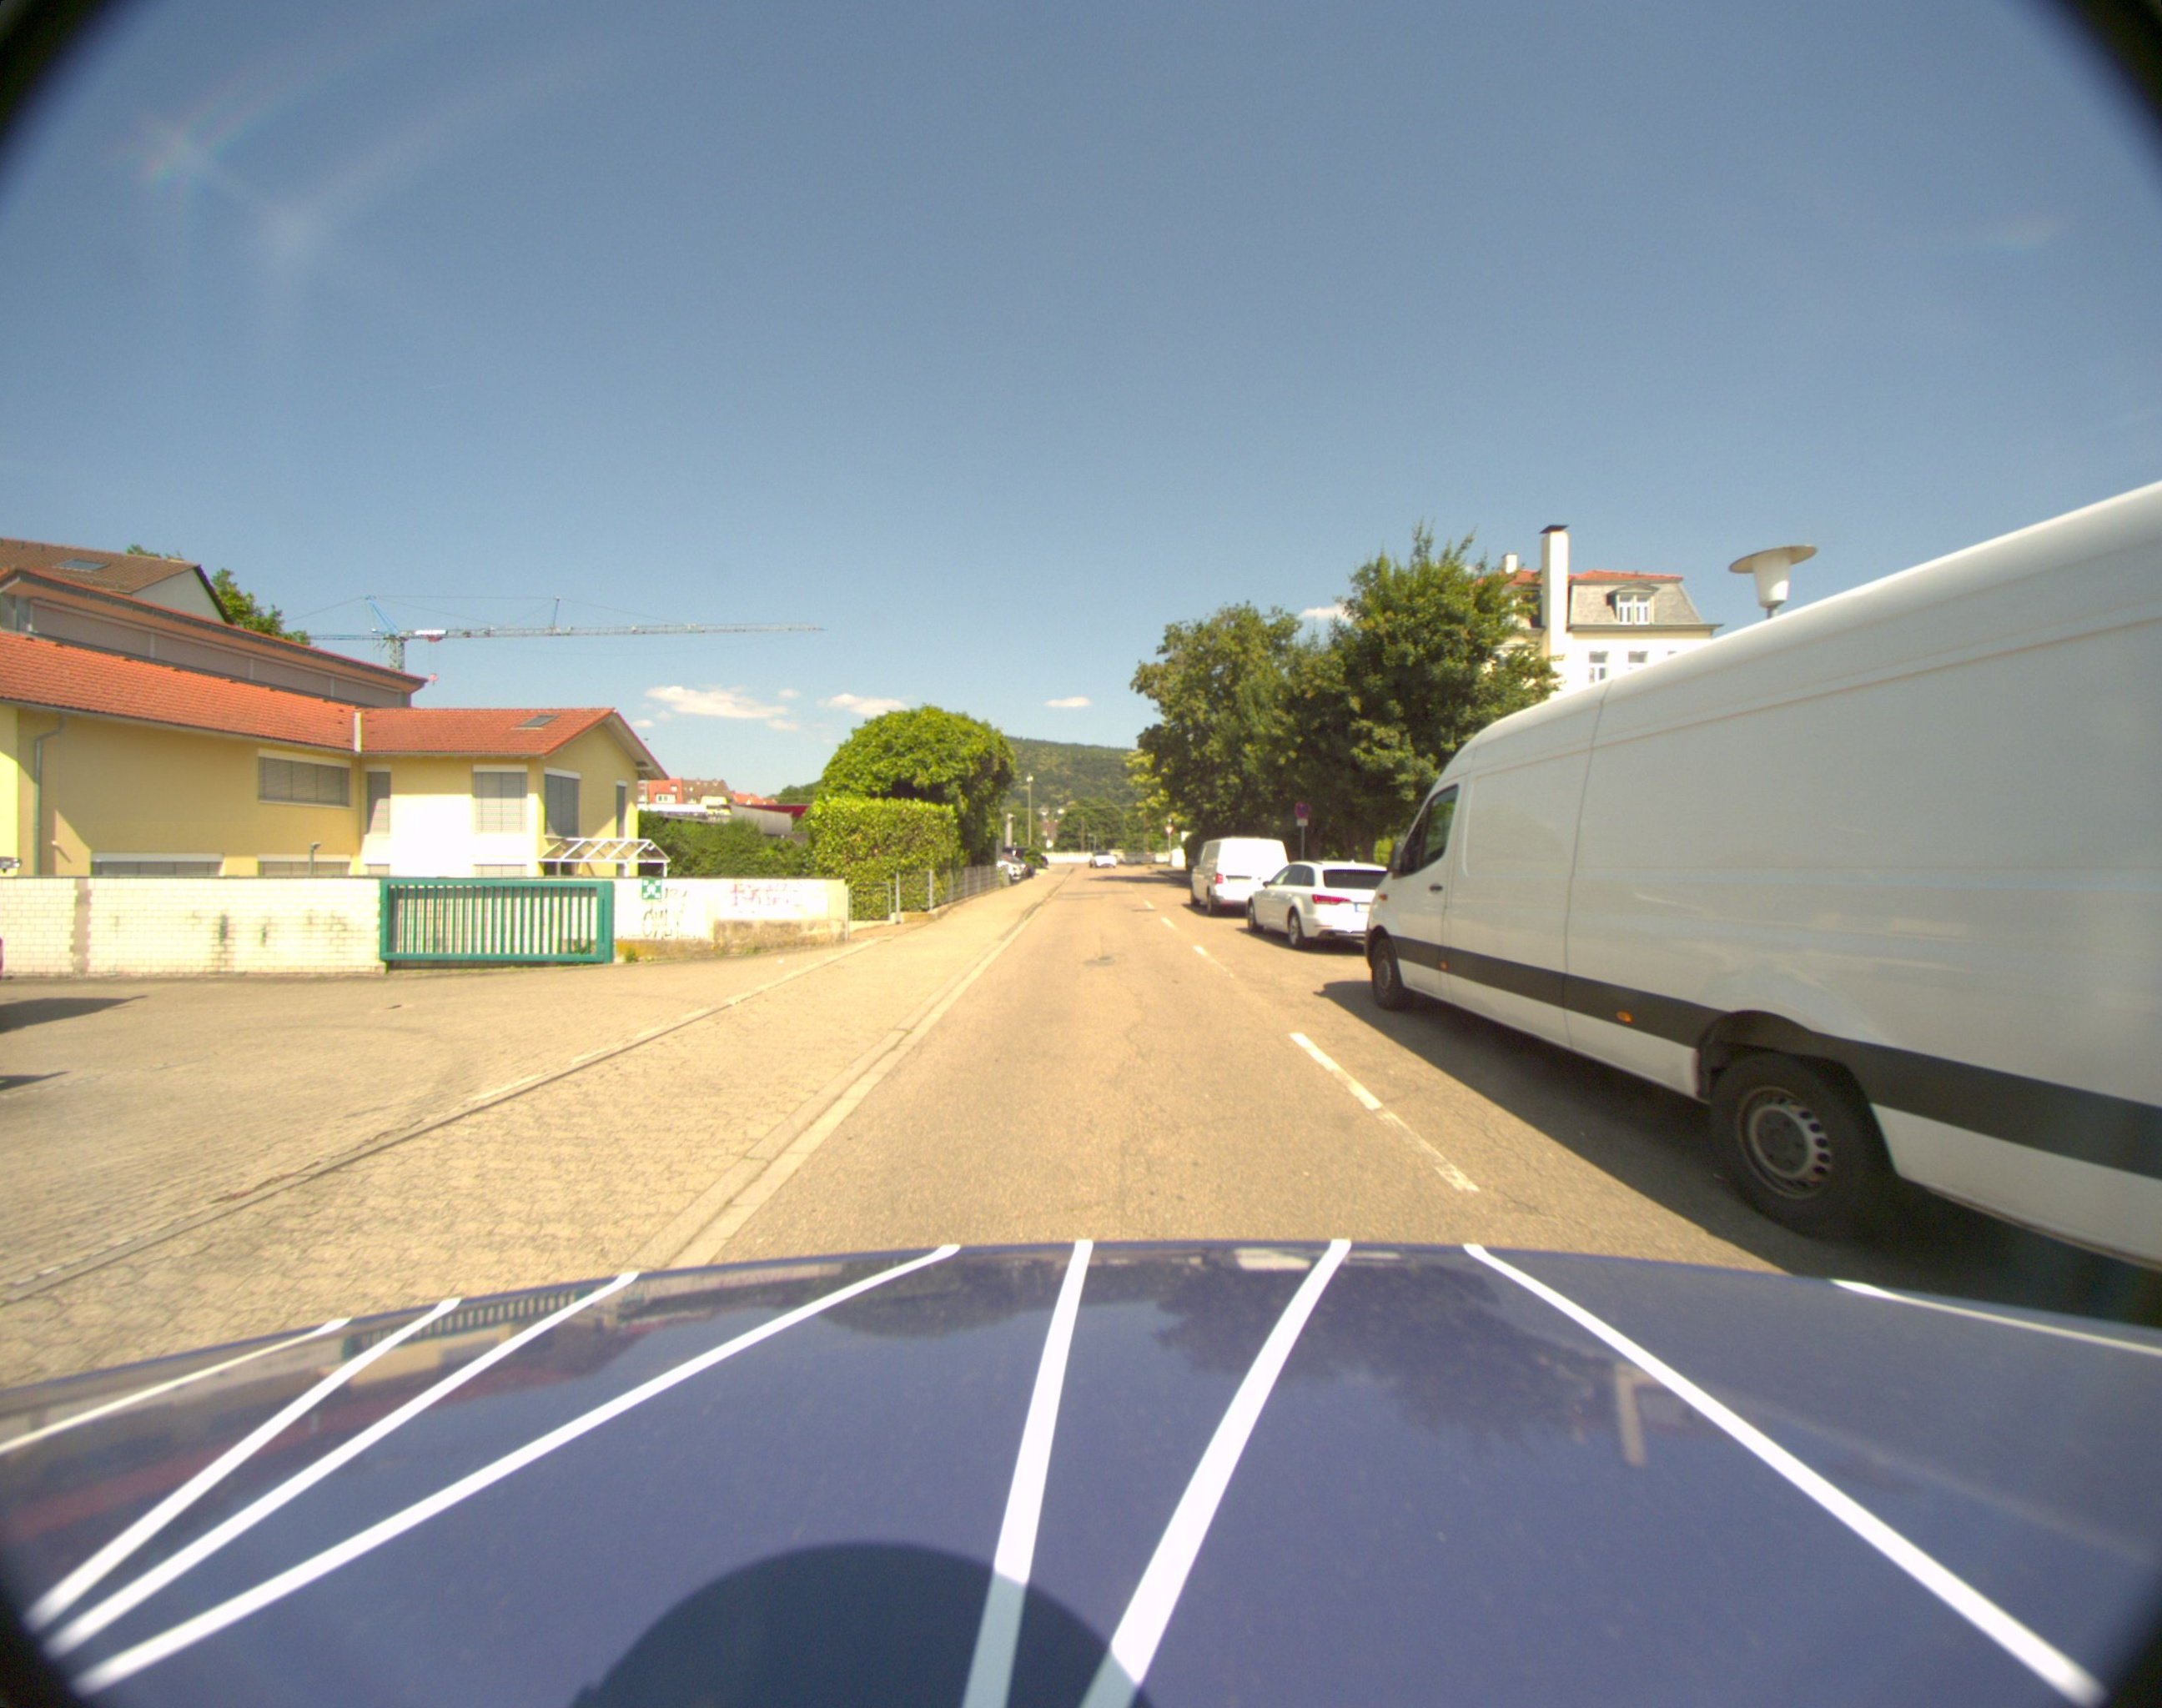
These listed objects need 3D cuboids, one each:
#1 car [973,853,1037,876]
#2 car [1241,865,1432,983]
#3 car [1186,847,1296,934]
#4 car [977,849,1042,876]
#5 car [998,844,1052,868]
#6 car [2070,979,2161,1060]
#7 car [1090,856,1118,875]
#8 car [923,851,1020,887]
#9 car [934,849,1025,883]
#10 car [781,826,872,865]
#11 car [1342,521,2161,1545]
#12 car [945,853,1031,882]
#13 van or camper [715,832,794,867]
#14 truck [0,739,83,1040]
[{"bbox_3d":[-4.378,0.599,43.995,3.558,1.327,1.558,0,0,0],"label":"car"},{"bbox_3d":[4.157,1.053,13.207,1.718,1.535,4.399,1,1,-1],"label":"car"},{"bbox_3d":[4.150,0.841,20.639,1.976,2.002,5.056,1,1,1],"label":"car"},{"bbox_3d":[-4.386,0.537,46.944,3.812,1.614,1.759,-1,0,0],"label":"car"},{"bbox_3d":[-4.299,0.096,59.003,1.847,1.772,4.299,1,2,37],"label":"car"},{"bbox_3d":[23.351,3.571,15.395,1.806,1.433,4.003,-1,0,10],"label":"car"},{"bbox_3d":[1.995,0.999,67.152,1.897,1.412,4.166,1,1,-7],"label":"car"},{"bbox_3d":[-5.170,0.710,36.319,4.414,1.644,1.843,0,1,-1],"label":"car"},{"bbox_3d":[-5.121,0.599,38.801,4.414,1.519,1.896,2,2,-1],"label":"car"},{"bbox_3d":[-18.151,-0.622,54.229,6.025,2.663,2.255,0,1,-22],"label":"car"},{"bbox_3d":[3.879,0.415,4.751,2.173,2.581,6.919,1,1,1],"label":"car"},{"bbox_3d":[-5.016,0.717,41.430,4.414,1.488,1.897,0,1,0],"label":"car"},{"bbox_3d":[-23.407,-0.339,54.513,4.943,2.422,1.995,-1,1,-29],"label":"van or camper"},{"bbox_3d":[-17.081,0.476,8.518,8.294,3.590,2.954,-1,1,4],"label":"truck"}]
